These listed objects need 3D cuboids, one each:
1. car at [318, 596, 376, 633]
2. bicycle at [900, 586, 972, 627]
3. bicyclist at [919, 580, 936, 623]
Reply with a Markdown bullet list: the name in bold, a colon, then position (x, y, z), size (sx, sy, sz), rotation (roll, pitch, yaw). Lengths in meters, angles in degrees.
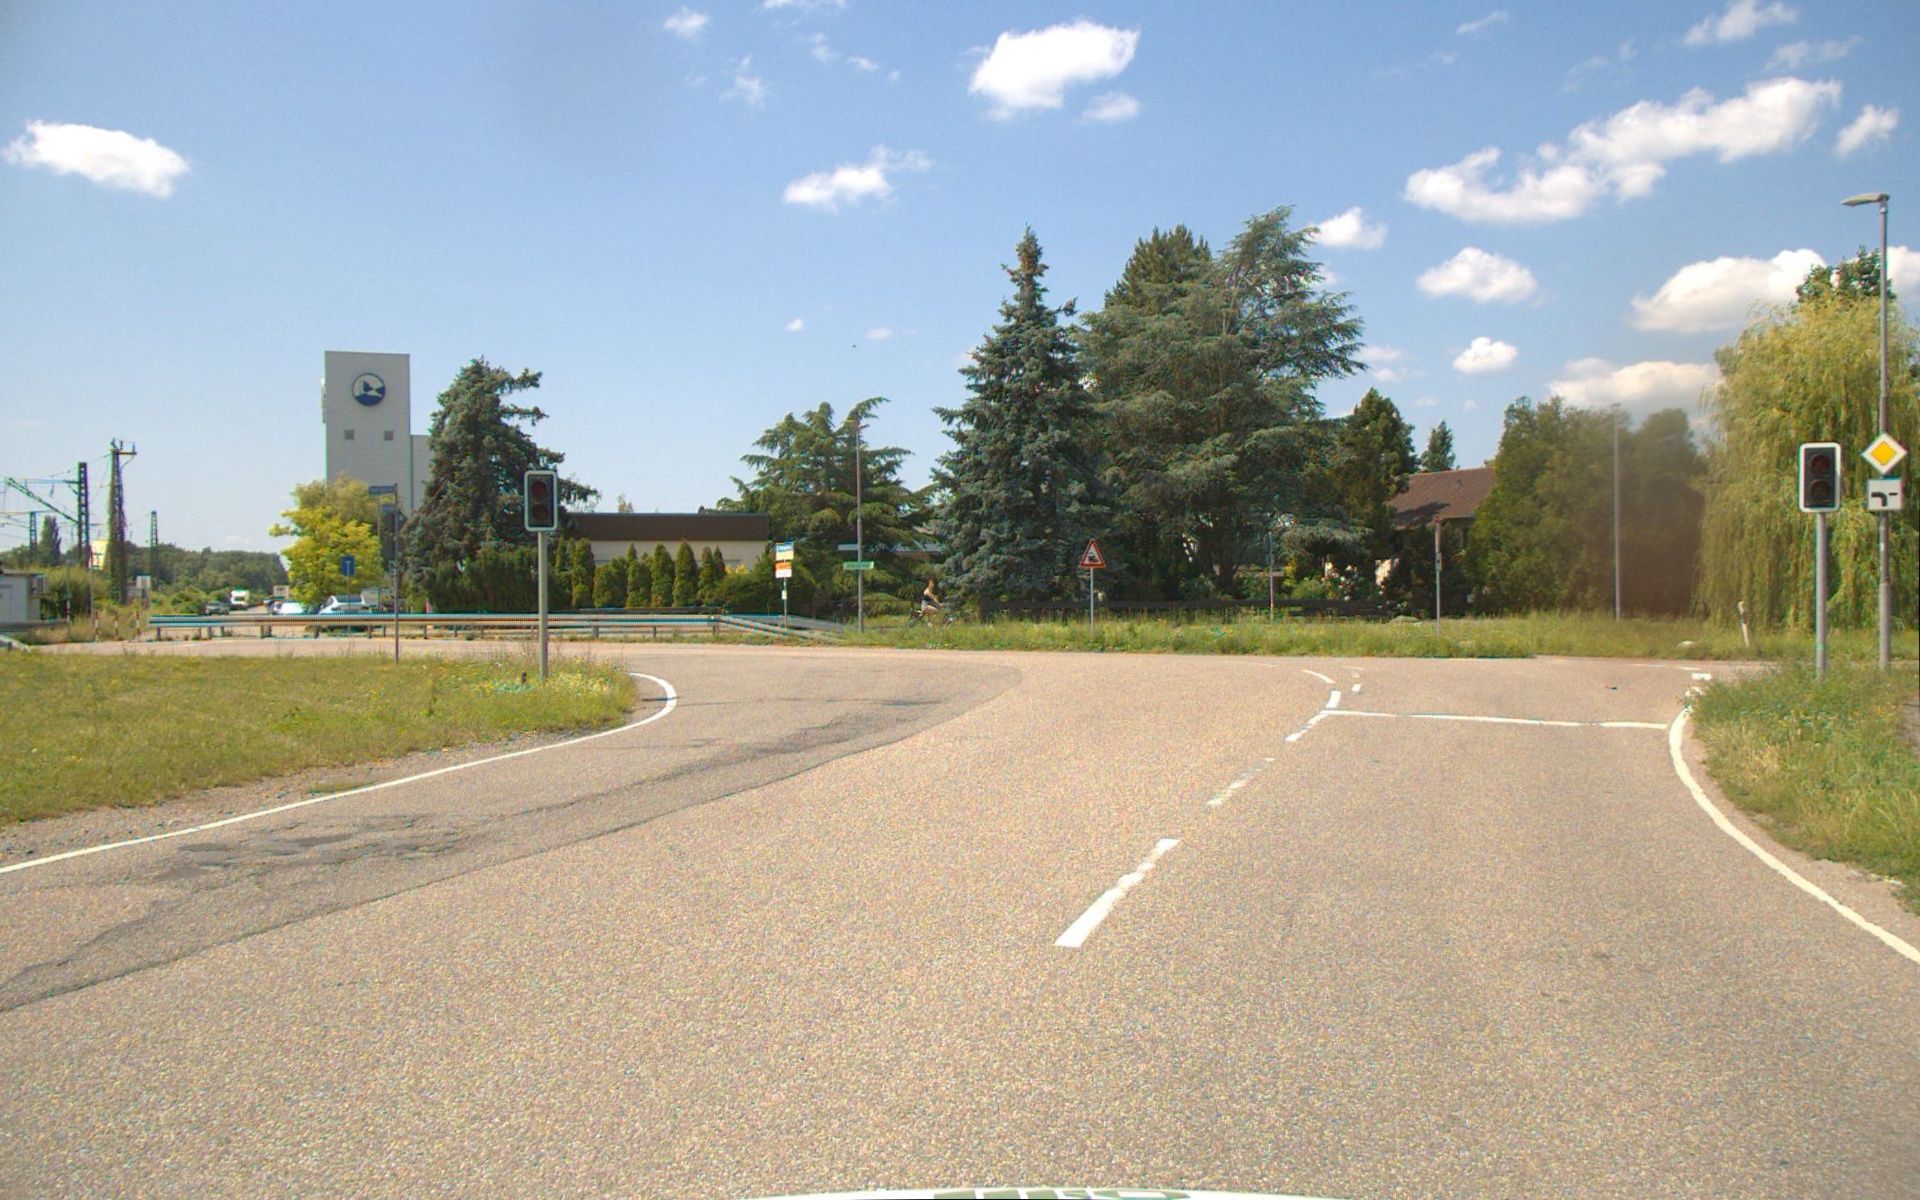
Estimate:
- **car**: position (-27.203, 0.632, 73.363), size (1.970, 1.536, 4.416), rotation (-1, 1, -26)
- **bicycle**: position (-0.725, 0.182, 49.000), size (2.097, 1.185, 0.661), rotation (-1, 1, -3)
- **bicyclist**: position (-0.969, 0.043, 48.970), size (0.499, 1.277, 0.469), rotation (0, 0, -3)
